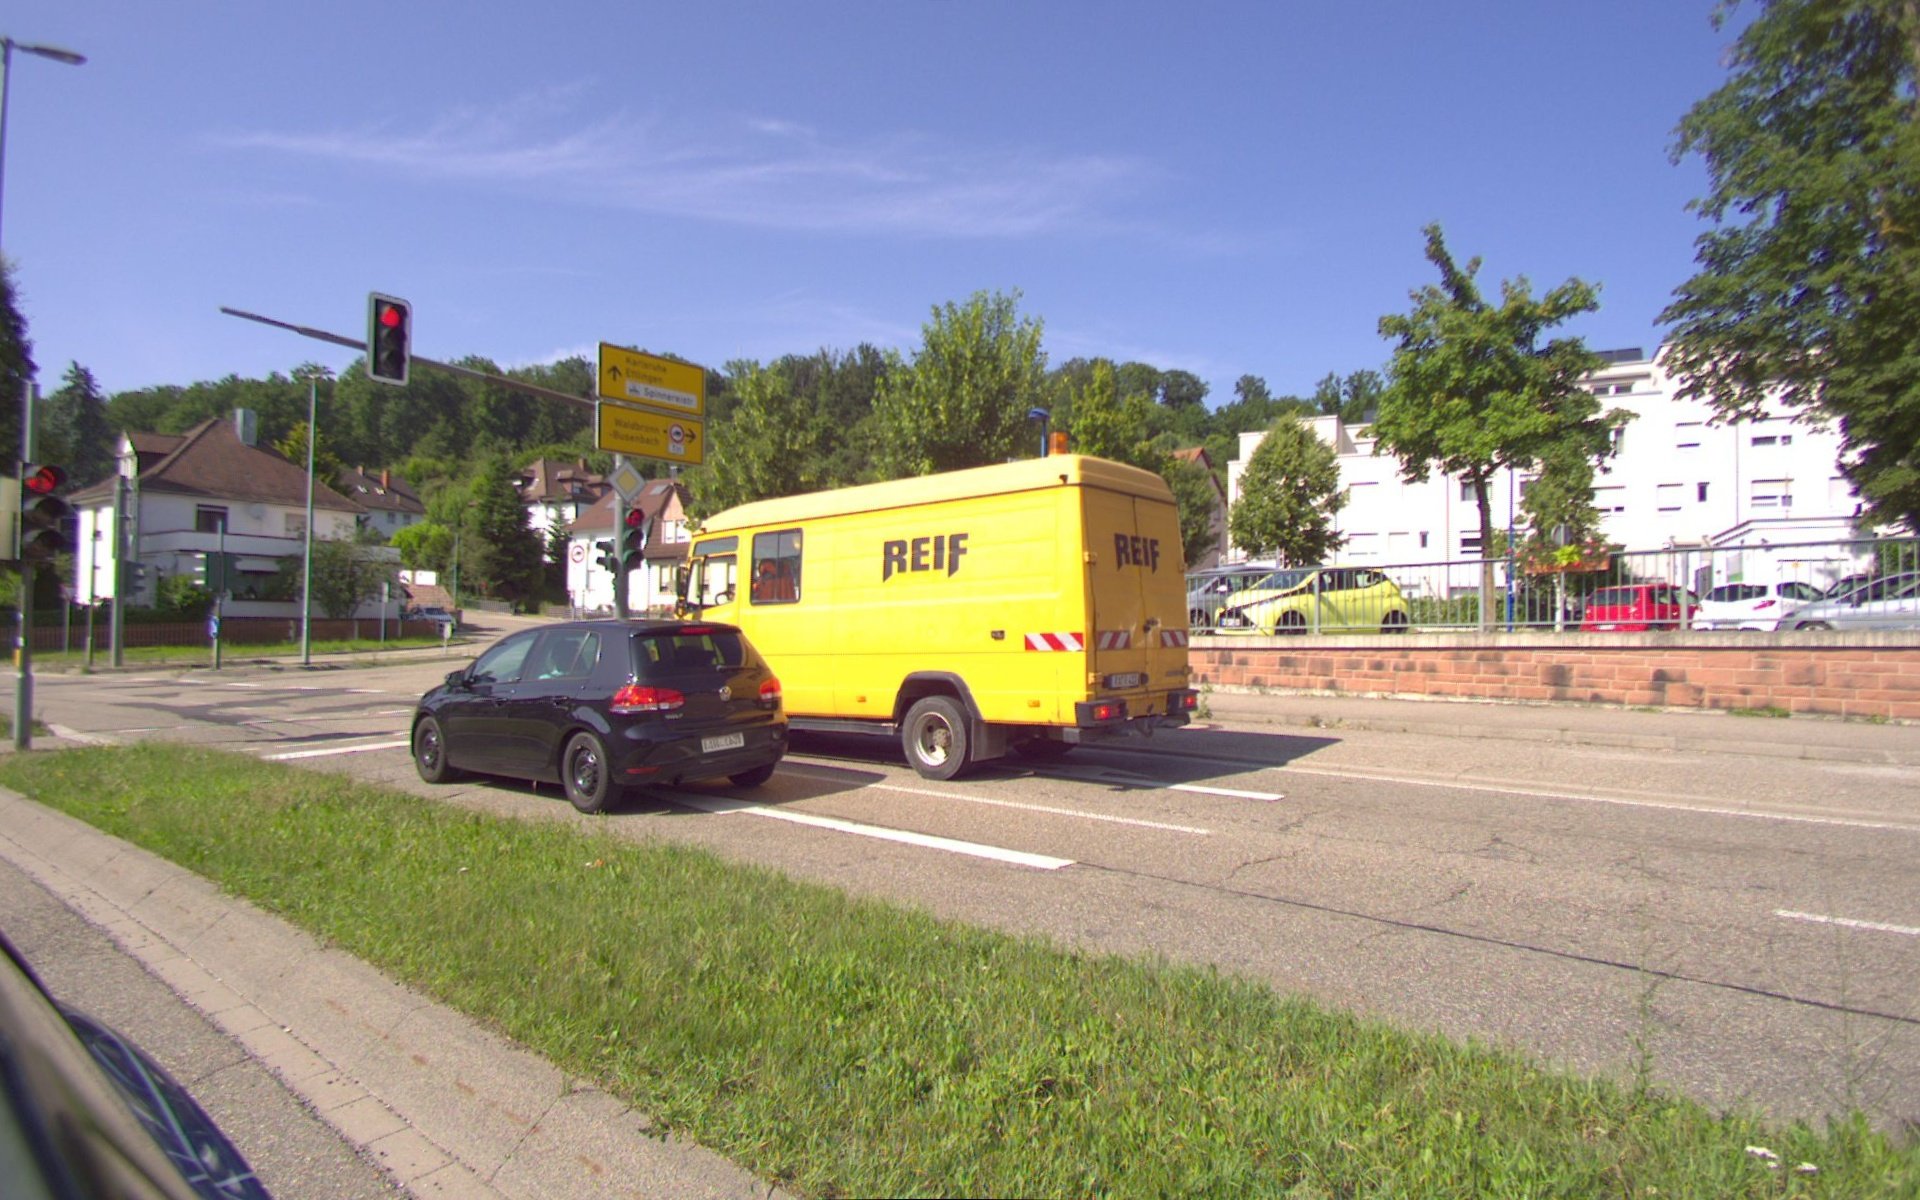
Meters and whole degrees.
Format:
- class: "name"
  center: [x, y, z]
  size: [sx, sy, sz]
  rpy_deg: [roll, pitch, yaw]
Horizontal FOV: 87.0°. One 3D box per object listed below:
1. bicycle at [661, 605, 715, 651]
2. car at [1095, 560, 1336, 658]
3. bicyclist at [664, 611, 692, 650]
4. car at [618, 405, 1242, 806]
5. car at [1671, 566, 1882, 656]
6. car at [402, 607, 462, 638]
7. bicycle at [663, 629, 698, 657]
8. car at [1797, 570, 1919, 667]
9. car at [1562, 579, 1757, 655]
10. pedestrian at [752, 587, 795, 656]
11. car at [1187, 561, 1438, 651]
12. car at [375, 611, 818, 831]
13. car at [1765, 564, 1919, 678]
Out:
- class: "bicycle"
  center: [-8.163, 0.850, 30.363]
  size: [1.757, 1.265, 0.612]
  rpy_deg: [-5, 0, 43]
- class: "car"
  center: [5.238, 0.152, 20.837]
  size: [4.339, 1.709, 2.064]
  rpy_deg: [-3, 0, -21]
- class: "bicyclist"
  center: [-12.858, 1.372, 46.154]
  size: [0.798, 1.704, 0.990]
  rpy_deg: [-3, -1, 10]
- class: "car"
  center: [-0.631, 0.085, 10.619]
  size: [6.457, 3.033, 2.444]
  rpy_deg: [-1, 0, 38]
- class: "car"
  center: [17.870, 0.231, 22.163]
  size: [3.931, 1.714, 1.920]
  rpy_deg: [-3, -1, -24]
- class: "car"
  center: [-31.690, 1.362, 60.737]
  size: [3.999, 1.649, 1.913]
  rpy_deg: [-3, -1, 43]
- class: "bicycle"
  center: [-12.792, 1.966, 46.322]
  size: [0.727, 1.171, 1.994]
  rpy_deg: [-3, -1, 10]
- class: "car"
  center: [18.407, 0.279, 19.253]
  size: [3.931, 1.684, 2.006]
  rpy_deg: [-2, -1, -19]
- class: "car"
  center: [16.856, 0.389, 24.403]
  size: [3.931, 1.571, 1.920]
  rpy_deg: [-2, -1, -21]
- class: "pedestrian"
  center: [-4.681, 0.532, 25.408]
  size: [0.740, 1.690, 0.704]
  rpy_deg: [-3, -1, 37]
- class: "car"
  center: [6.377, 0.091, 18.381]
  size: [3.931, 1.392, 1.920]
  rpy_deg: [-2, -1, -21]
- class: "car"
  center: [-3.249, 0.866, 8.715]
  size: [4.038, 1.474, 1.729]
  rpy_deg: [-2, -2, 38]
- class: "car"
  center: [15.914, 0.333, 16.429]
  size: [1.888, 1.803, 4.013]
  rpy_deg: [0, -1, -20]
